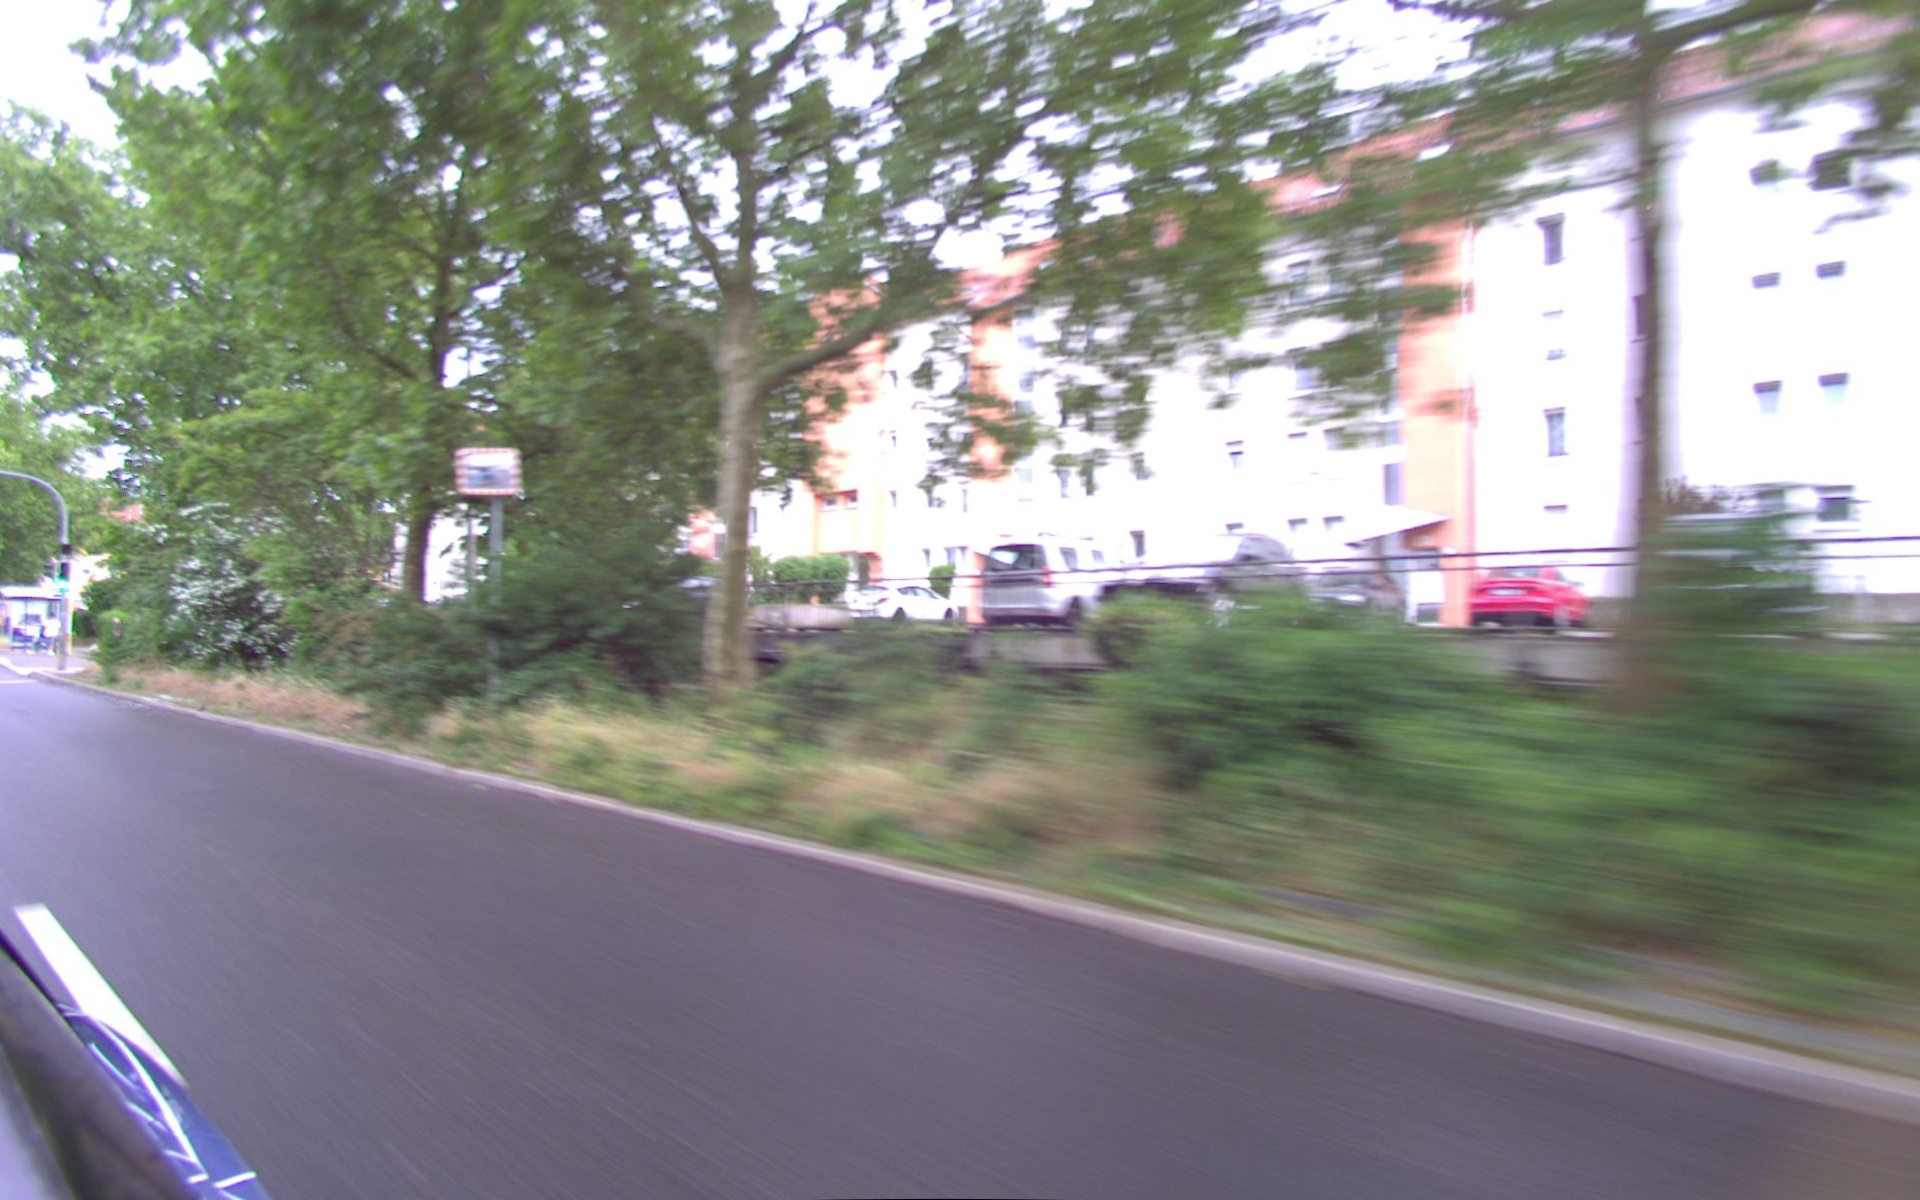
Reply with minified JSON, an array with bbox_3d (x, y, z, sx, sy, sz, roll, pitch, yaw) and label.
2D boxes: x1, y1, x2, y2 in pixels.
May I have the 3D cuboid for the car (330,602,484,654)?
[{"bbox_3d":[-19.885,0.960,36.555,1.999,1.684,4.499,1,1,40],"label":"car"}]

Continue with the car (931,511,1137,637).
[{"bbox_3d":[1.451,-0.372,18.396,1.717,2.029,4.127,-1,-2,39],"label":"car"}]

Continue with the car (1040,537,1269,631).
[{"bbox_3d":[3.328,-0.184,16.650,1.855,1.332,4.401,-1,-1,39],"label":"car"}]

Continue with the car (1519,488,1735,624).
[{"bbox_3d":[8.270,-0.414,12.387,1.829,1.385,3.948,-1,-1,39],"label":"car"}]

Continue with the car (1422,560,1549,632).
[{"bbox_3d":[11.724,-0.042,22.465,1.664,1.442,3.946,-1,-1,40],"label":"car"}]

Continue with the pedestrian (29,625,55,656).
[{"bbox_3d":[-40.397,1.791,44.531,0.641,1.327,0.766,1,-2,44],"label":"pedestrian"}]
